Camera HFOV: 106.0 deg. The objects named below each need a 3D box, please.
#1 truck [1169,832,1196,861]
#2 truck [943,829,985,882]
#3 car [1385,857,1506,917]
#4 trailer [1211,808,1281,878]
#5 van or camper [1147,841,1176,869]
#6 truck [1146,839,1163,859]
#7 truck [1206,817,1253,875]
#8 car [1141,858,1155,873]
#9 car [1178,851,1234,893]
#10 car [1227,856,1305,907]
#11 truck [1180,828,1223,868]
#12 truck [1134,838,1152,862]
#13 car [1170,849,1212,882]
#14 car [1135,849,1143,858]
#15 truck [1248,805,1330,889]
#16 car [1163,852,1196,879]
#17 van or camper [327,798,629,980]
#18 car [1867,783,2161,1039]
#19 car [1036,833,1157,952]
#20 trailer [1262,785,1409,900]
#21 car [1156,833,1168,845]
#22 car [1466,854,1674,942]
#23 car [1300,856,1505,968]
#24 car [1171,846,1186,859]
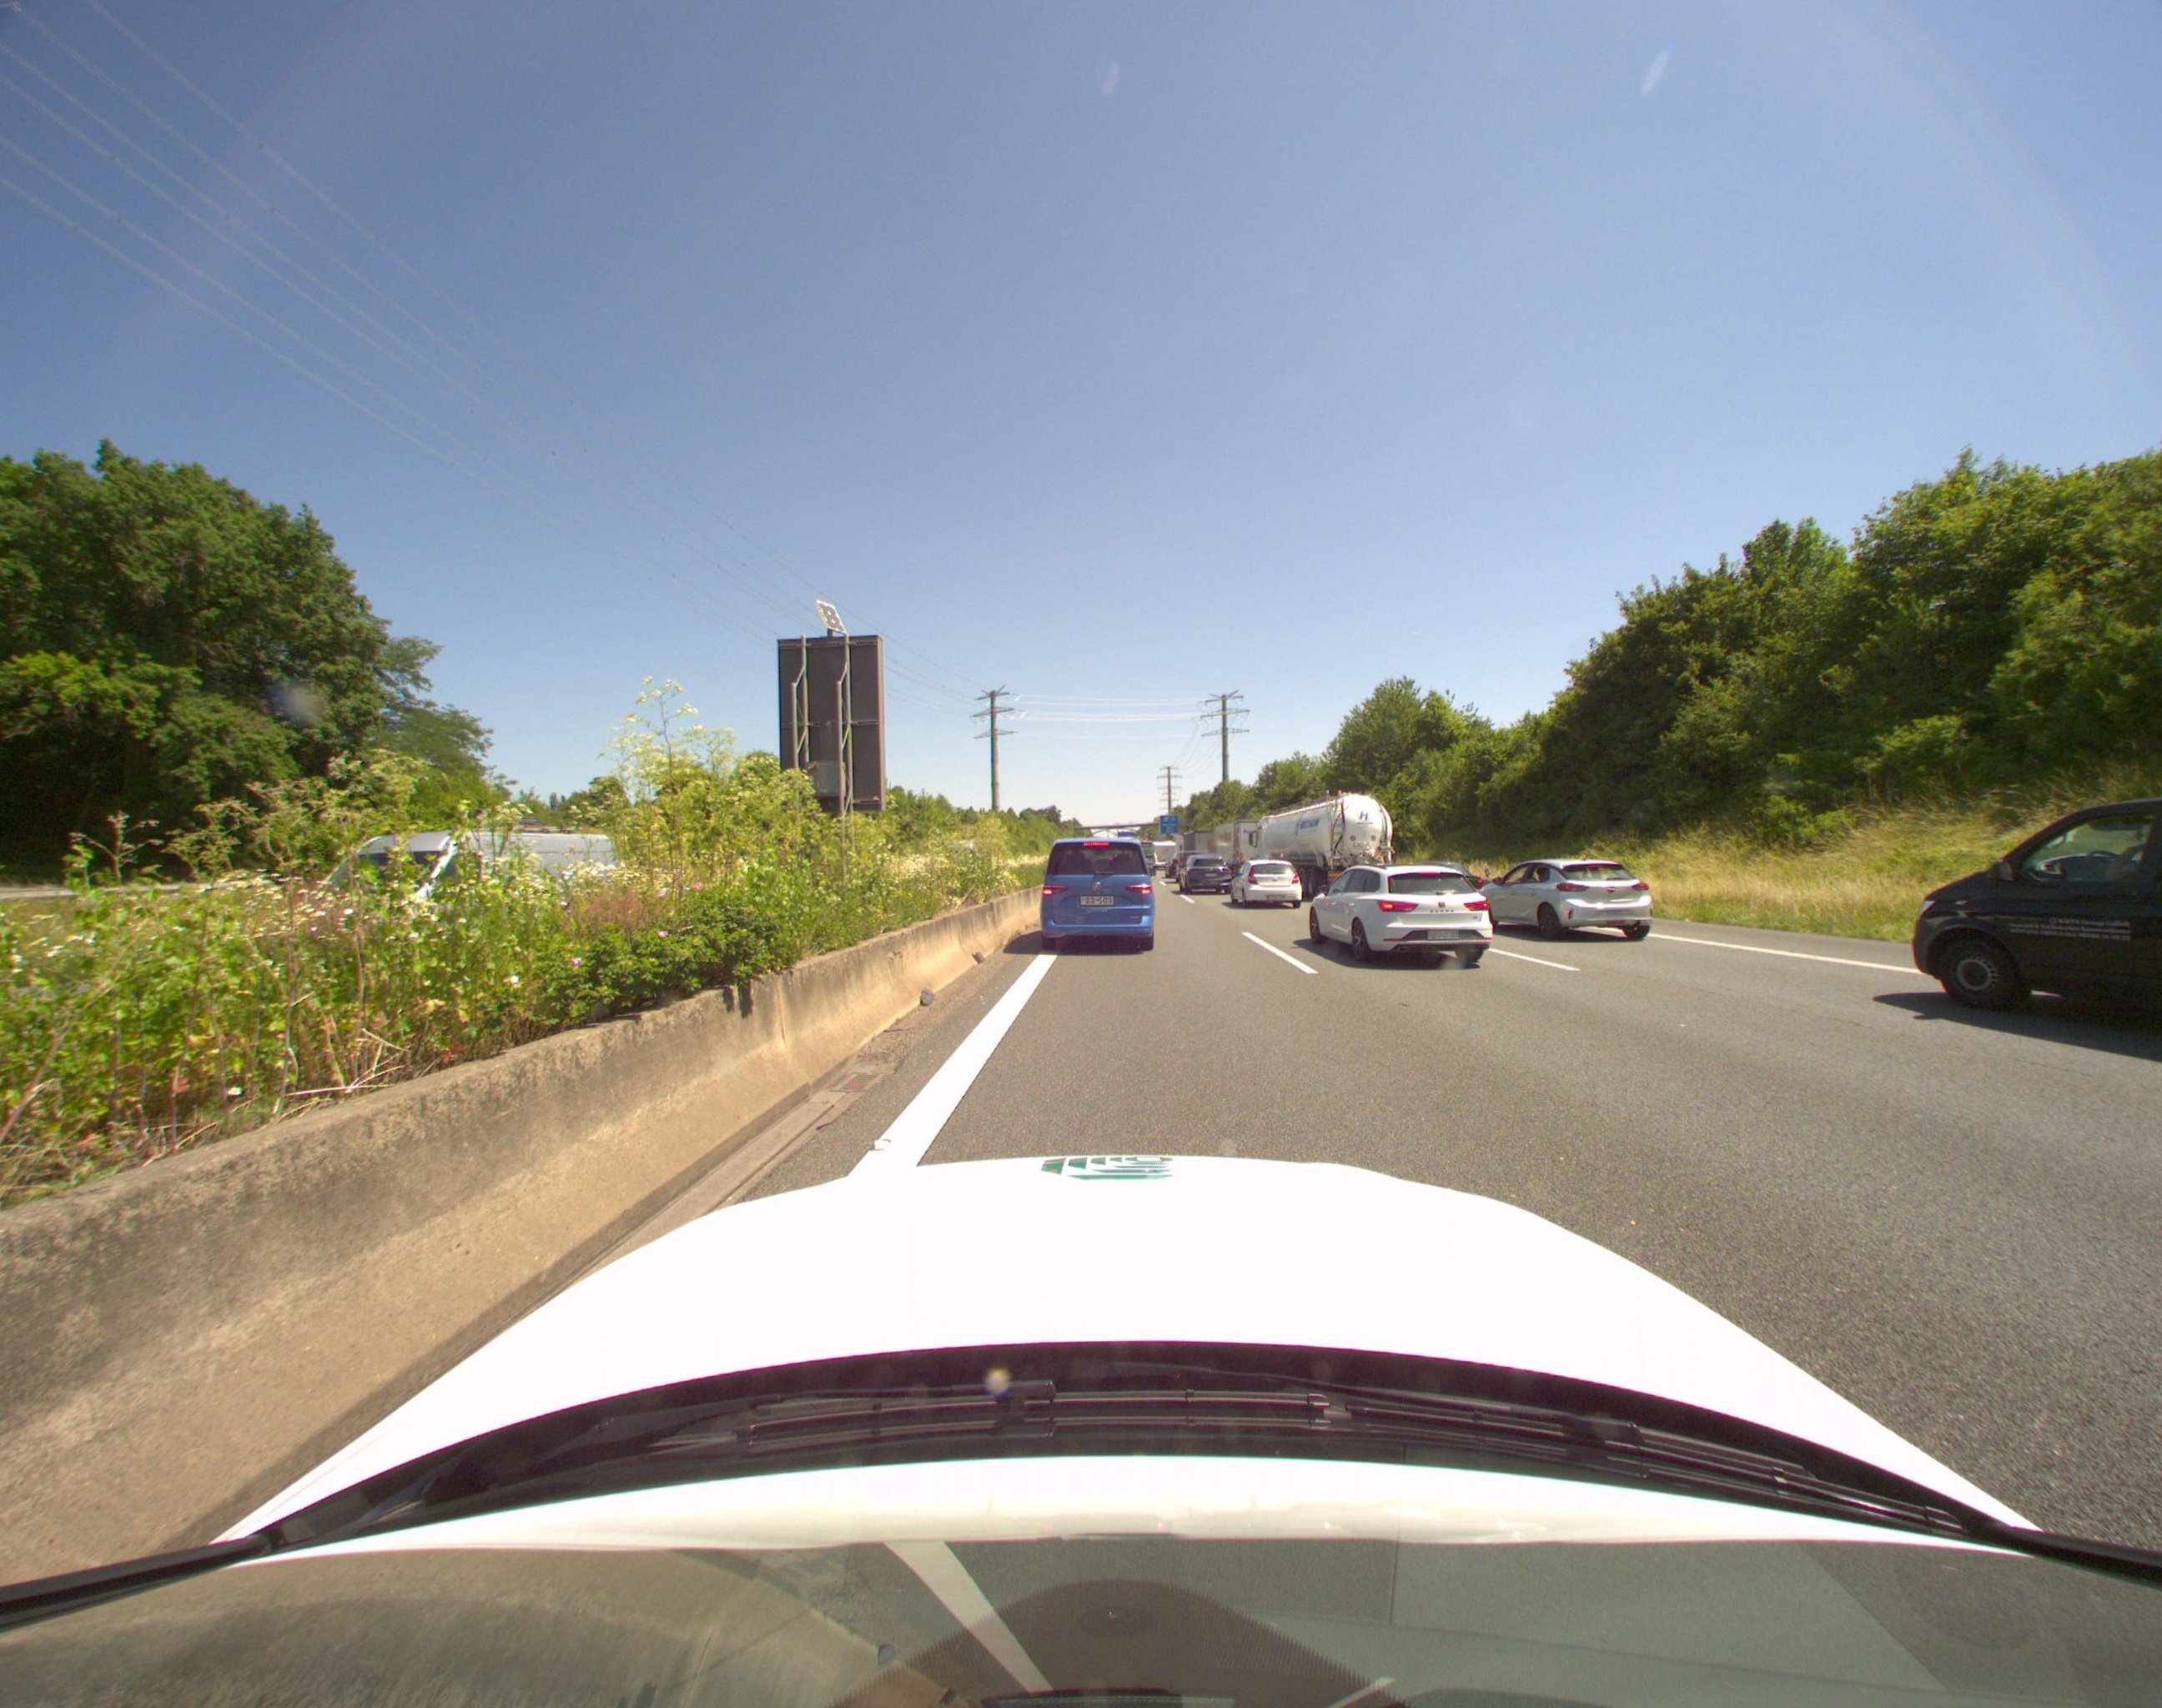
[{"bbox_3d":[14.131,-0.944,114.155,2.883,3.767,13.355,-1,-1,3],"label":"truck"},{"bbox_3d":[-11.648,0.155,81.430,3.290,5.051,4.035,-1,-1,2],"label":"truck"},{"bbox_3d":[9.713,0.852,22.037,1.634,1.416,3.992,-3,-1,3],"label":"car"},{"bbox_3d":[11.715,-0.642,59.168,2.901,4.469,12.159,-2,-1,2],"label":"trailer"},{"bbox_3d":[8.862,0.153,90.687,2.944,3.022,7.110,-1,-1,4],"label":"van or camper"},{"bbox_3d":[17.892,-1.238,198.103,3.552,4.517,10.298,-1,-1,2],"label":"truck"},{"bbox_3d":[11.989,-0.605,66.177,2.901,4.469,5.145,-2,-1,2],"label":"truck"},{"bbox_3d":[9.232,1.592,111.964,1.828,1.998,4.004,-2,-1,4],"label":"car"},{"bbox_3d":[5.460,0.801,36.210,1.991,1.715,4.629,-2,-1,3],"label":"car"},{"bbox_3d":[5.893,0.863,26.332,1.809,1.485,4.004,-2,-1,4],"label":"car"},{"bbox_3d":[12.448,-0.461,85.568,2.993,3.767,15.725,-1,-1,3],"label":"truck"},{"bbox_3d":[10.732,-0.606,140.814,2.883,3.767,10.148,-1,-1,3],"label":"truck"},{"bbox_3d":[6.782,0.734,50.578,1.918,1.925,4.234,-2,-1,-1],"label":"car"},{"bbox_3d":[14.560,-0.220,205.089,1.986,2.126,4.002,-1,-1,2],"label":"car"},{"bbox_3d":[10.292,-0.291,40.908,2.782,3.836,5.574,-2,-1,2],"label":"truck"},{"bbox_3d":[7.314,0.881,60.810,1.918,1.925,4.234,-2,-1,-1],"label":"car"},{"bbox_3d":[-10.972,0.581,15.378,2.040,2.860,4.652,-2,-1,2],"label":"van or camper"},{"bbox_3d":[9.116,0.405,6.085,1.905,1.940,4.860,-2,-1,3],"label":"car"},{"bbox_3d":[0.341,0.614,14.908,1.912,1.886,4.003,0,0,3],"label":"car"},{"bbox_3d":[9.974,-0.345,33.539,2.750,3.845,11.491,-2,-1,2],"label":"trailer"},{"bbox_3d":[15.410,-2.799,154.743,1.985,2.014,4.003,-1,-1,3],"label":"car"},{"bbox_3d":[9.222,0.747,15.795,1.724,1.443,4.030,-2,0,2],"label":"car"},{"bbox_3d":[4.857,0.821,13.000,1.740,1.443,4.316,-2,-1,3],"label":"car"},{"bbox_3d":[15.078,-0.215,126.577,1.985,2.014,4.003,-1,-1,3],"label":"car"}]
